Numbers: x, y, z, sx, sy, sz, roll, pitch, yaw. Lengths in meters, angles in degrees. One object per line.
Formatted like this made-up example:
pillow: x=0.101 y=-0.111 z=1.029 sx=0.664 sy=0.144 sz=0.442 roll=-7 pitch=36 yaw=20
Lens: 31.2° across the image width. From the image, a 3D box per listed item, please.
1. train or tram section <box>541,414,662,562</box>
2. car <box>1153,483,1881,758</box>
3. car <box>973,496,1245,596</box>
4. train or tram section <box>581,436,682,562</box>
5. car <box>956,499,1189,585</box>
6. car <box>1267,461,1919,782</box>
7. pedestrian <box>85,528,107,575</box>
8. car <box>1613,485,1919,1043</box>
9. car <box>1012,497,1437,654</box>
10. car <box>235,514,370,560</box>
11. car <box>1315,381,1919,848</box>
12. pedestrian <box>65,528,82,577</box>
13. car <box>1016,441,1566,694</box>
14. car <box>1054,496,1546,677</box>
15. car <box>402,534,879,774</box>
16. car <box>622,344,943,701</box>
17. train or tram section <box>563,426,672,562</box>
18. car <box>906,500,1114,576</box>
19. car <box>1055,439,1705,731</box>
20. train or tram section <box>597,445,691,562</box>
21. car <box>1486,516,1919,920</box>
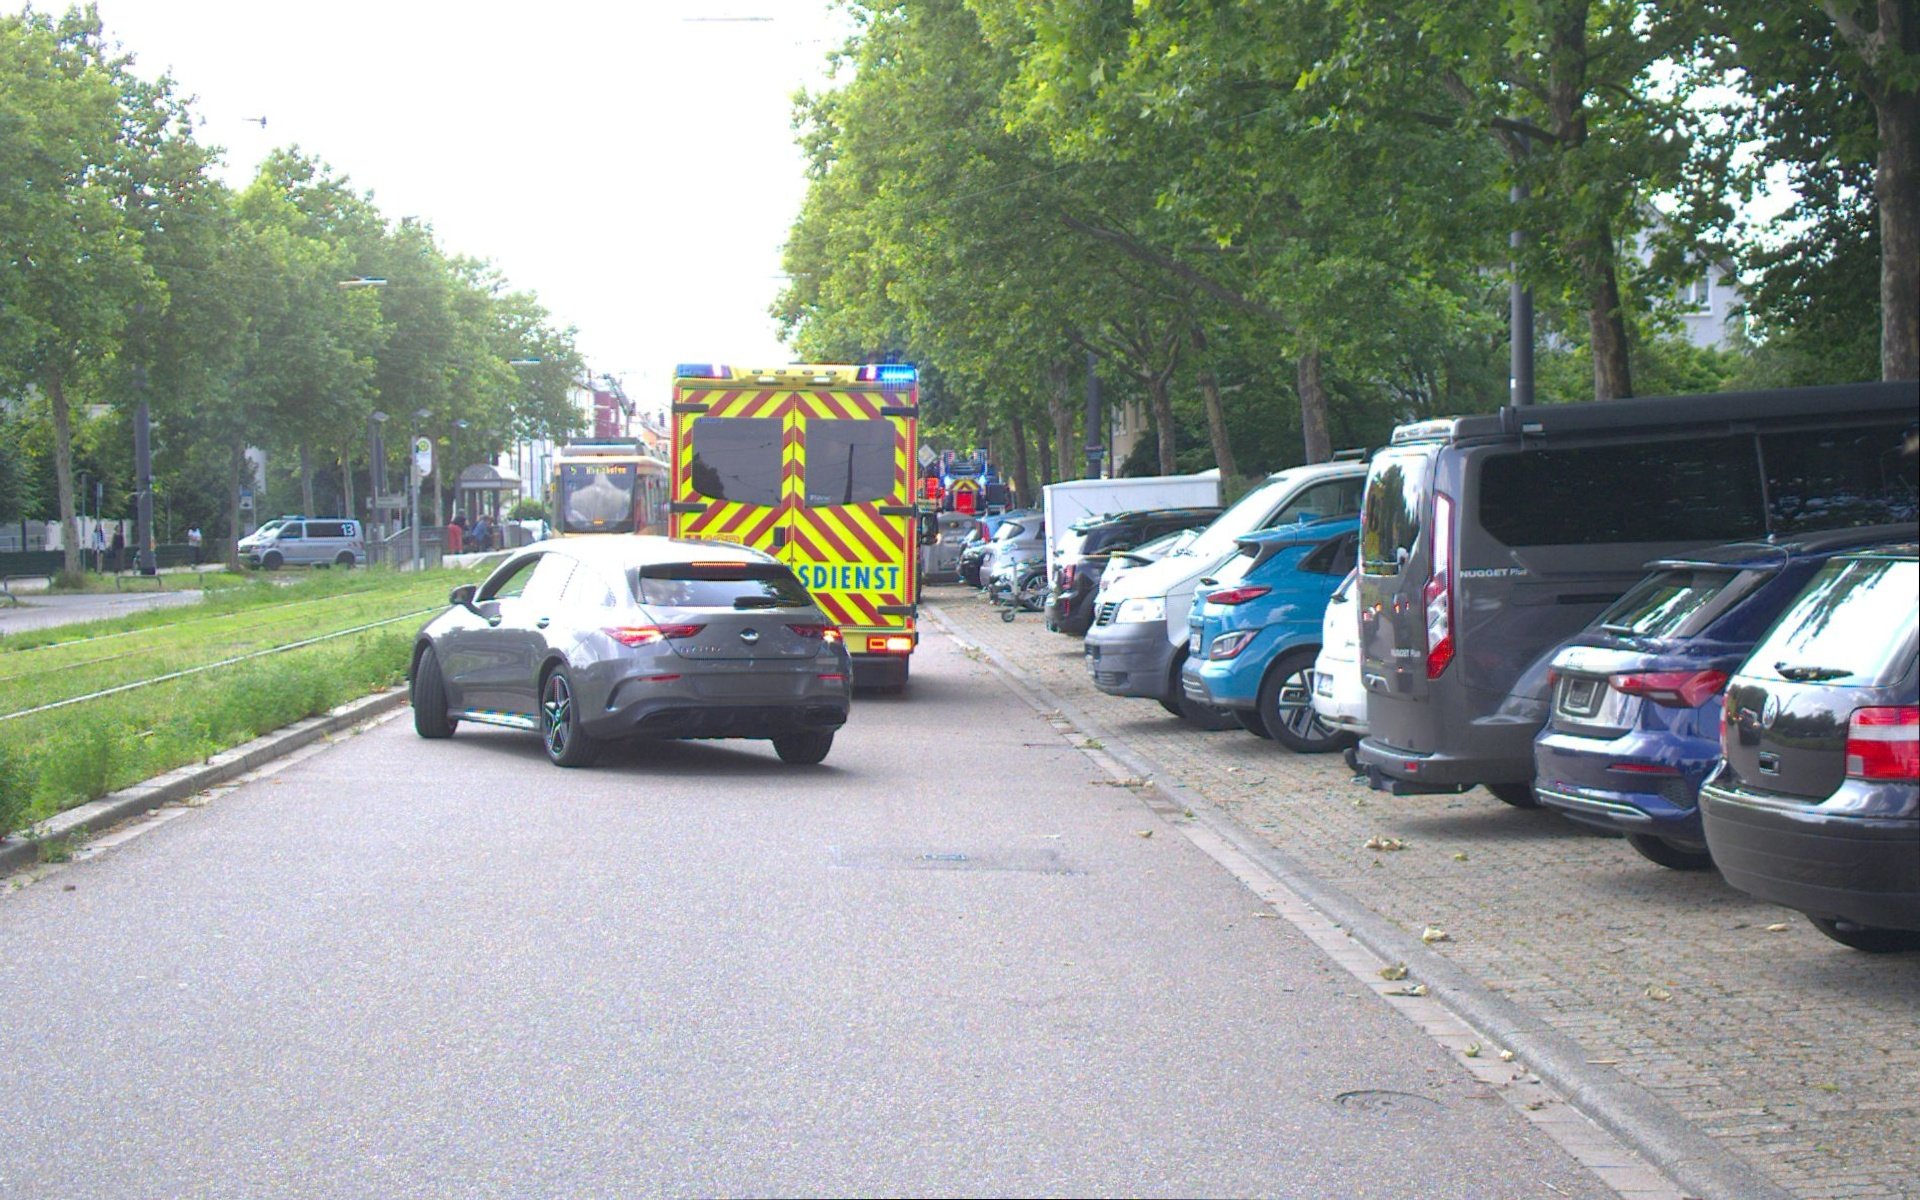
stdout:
train or tram section: x=-9.198 y=-2.818 z=88.818 sx=2.511 sy=3.572 sz=7.446 roll=-2 pitch=1 yaw=-2
car: x=3.745 y=0.106 z=23.549 sx=4.545 sy=1.654 sz=1.856 roll=-2 pitch=1 yaw=-6
car: x=2.607 y=-0.967 z=60.842 sx=4.545 sy=1.603 sz=1.856 roll=-2 pitch=1 yaw=-6
train or tram section: x=-9.847 y=-2.976 z=103.684 sx=2.511 sy=3.572 sz=7.446 roll=-2 pitch=1 yaw=-2
car: x=2.294 y=-1.197 z=70.687 sx=4.545 sy=1.603 sz=1.856 roll=-2 pitch=1 yaw=-6
car: x=4.289 y=0.086 z=21.029 sx=4.545 sy=1.760 sz=1.856 roll=-2 pitch=1 yaw=-2
pedestrian: x=-26.271 y=-1.480 z=104.549 sx=0.422 sy=1.409 sz=0.467 roll=0 pitch=1 yaw=23
car: x=4.344 y=0.390 z=11.144 sx=3.964 sy=1.600 sz=1.757 roll=-2 pitch=1 yaw=-12
car: x=2.985 y=-0.297 z=39.291 sx=4.545 sy=1.603 sz=1.856 roll=-2 pitch=1 yaw=-6
car: x=-24.654 y=-2.360 z=129.021 sx=4.615 sy=1.627 sz=1.882 roll=-2 pitch=2 yaw=-41
car: x=4.194 y=0.014 z=17.118 sx=4.545 sy=2.116 sz=1.856 roll=-2 pitch=1 yaw=-2
pedestrian: x=-26.473 y=-1.421 z=102.666 sx=0.421 sy=1.468 sz=0.467 roll=-1 pitch=1 yaw=-7
car: x=2.896 y=-0.308 z=30.653 sx=4.545 sy=2.036 sz=1.856 roll=-2 pitch=1 yaw=-6
car: x=3.330 y=-0.152 z=34.143 sx=4.545 sy=1.603 sz=1.856 roll=-2 pitch=1 yaw=-6
car: x=-2.238 y=0.291 z=22.850 sx=1.760 sy=1.381 sz=4.469 roll=1 pitch=1 yaw=-25
car: x=-1.550 y=-0.725 z=32.546 sx=2.641 sy=2.956 sz=6.300 roll=2 pitch=1 yaw=-1
train or tram section: x=-9.526 y=-2.897 z=96.244 sx=2.511 sy=3.572 sz=7.446 roll=-2 pitch=1 yaw=-2
car: x=1.132 y=-1.428 z=78.891 sx=4.545 sy=1.603 sz=1.856 roll=-2 pitch=1 yaw=-6
car: x=3.118 y=-0.138 z=26.064 sx=4.545 sy=1.994 sz=1.856 roll=-2 pitch=1 yaw=-6
train or tram section: x=-10.161 y=-3.054 z=111.121 sx=2.511 sy=3.572 sz=7.446 roll=-2 pitch=1 yaw=-2
car: x=4.303 y=0.392 z=14.000 sx=3.965 sy=1.489 sz=1.756 roll=-2 pitch=1 yaw=-2
